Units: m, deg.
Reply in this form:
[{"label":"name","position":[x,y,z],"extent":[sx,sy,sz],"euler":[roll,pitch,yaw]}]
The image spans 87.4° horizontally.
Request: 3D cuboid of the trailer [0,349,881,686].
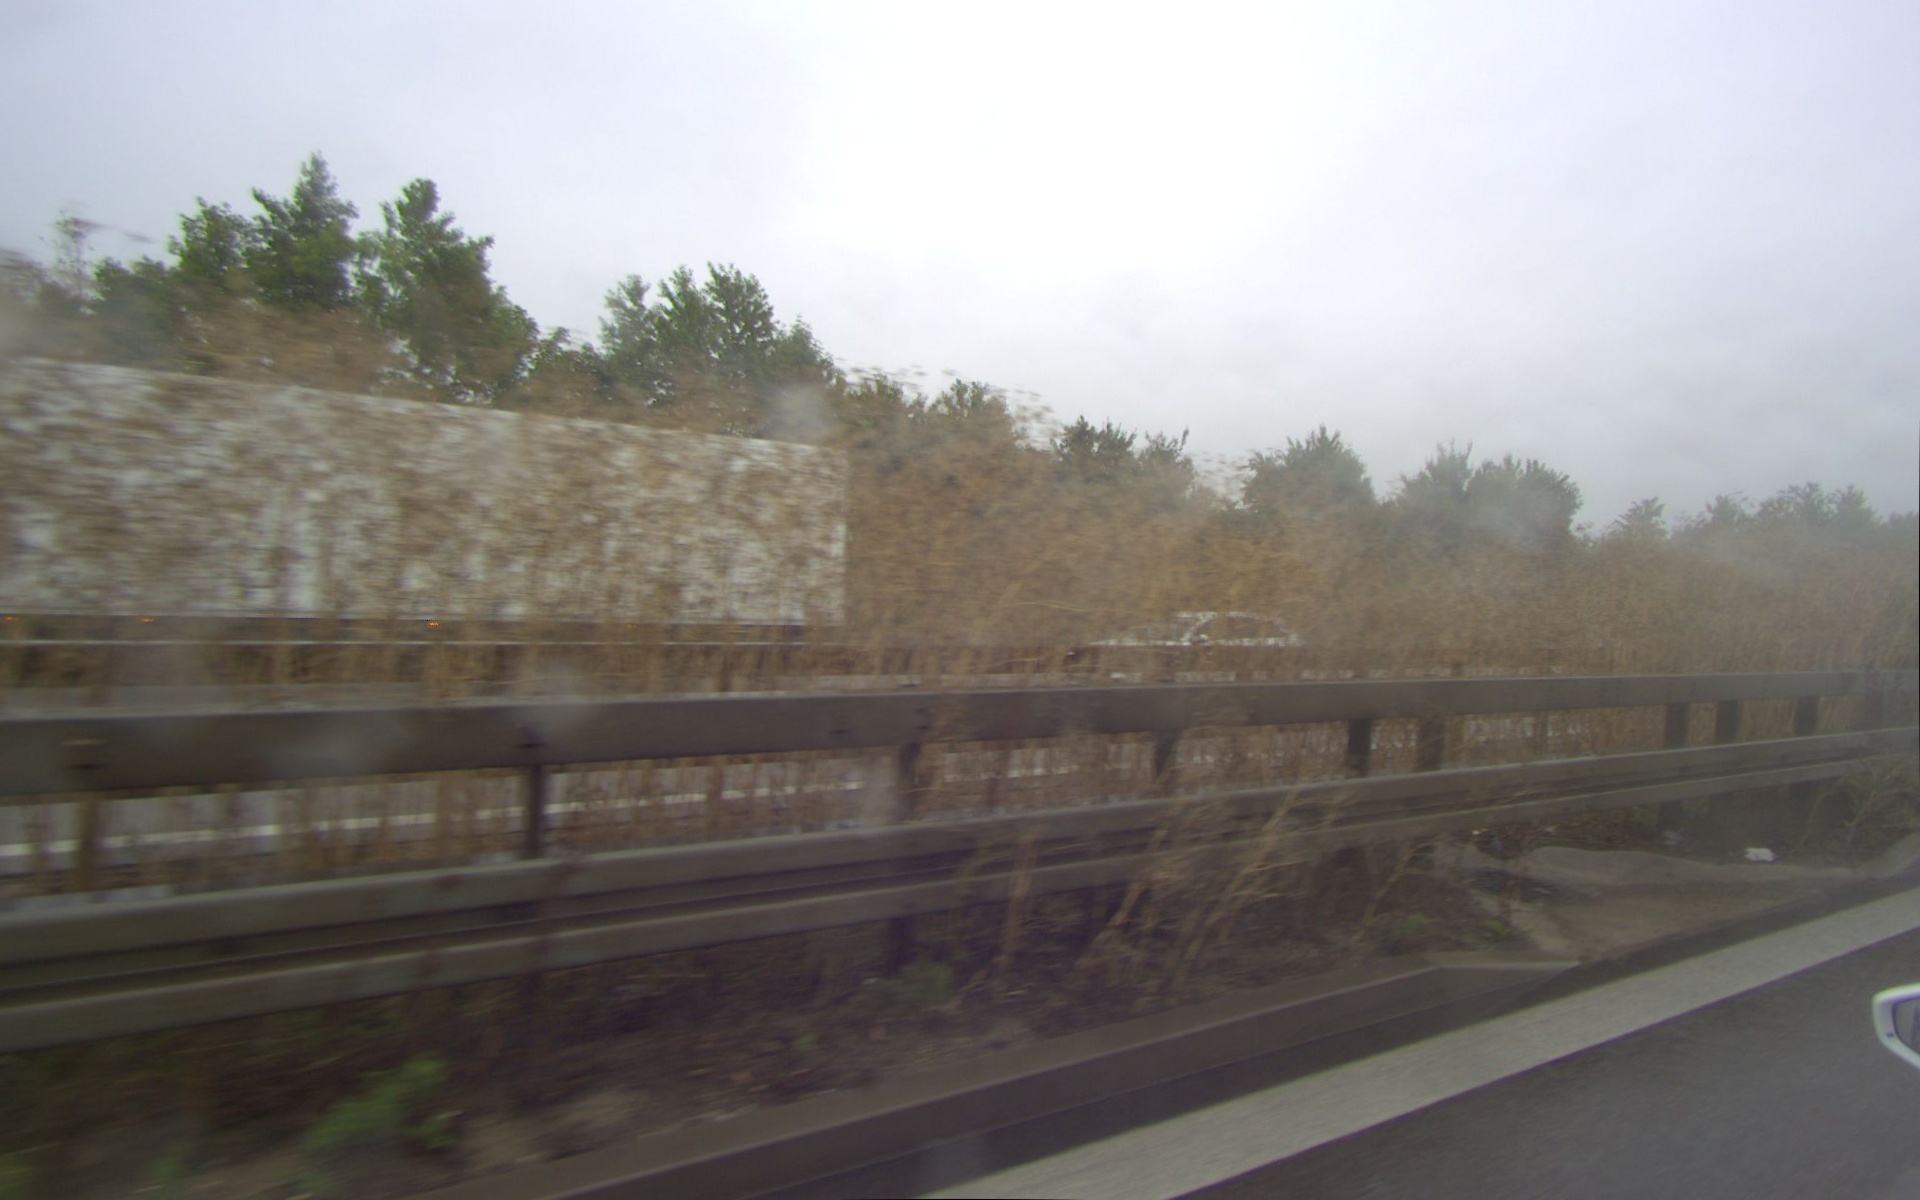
[{"label":"trailer","position":[-7.966,-0.858,14.744],"extent":[13.633,3.839,2.782],"euler":[2,1,-30]}]
